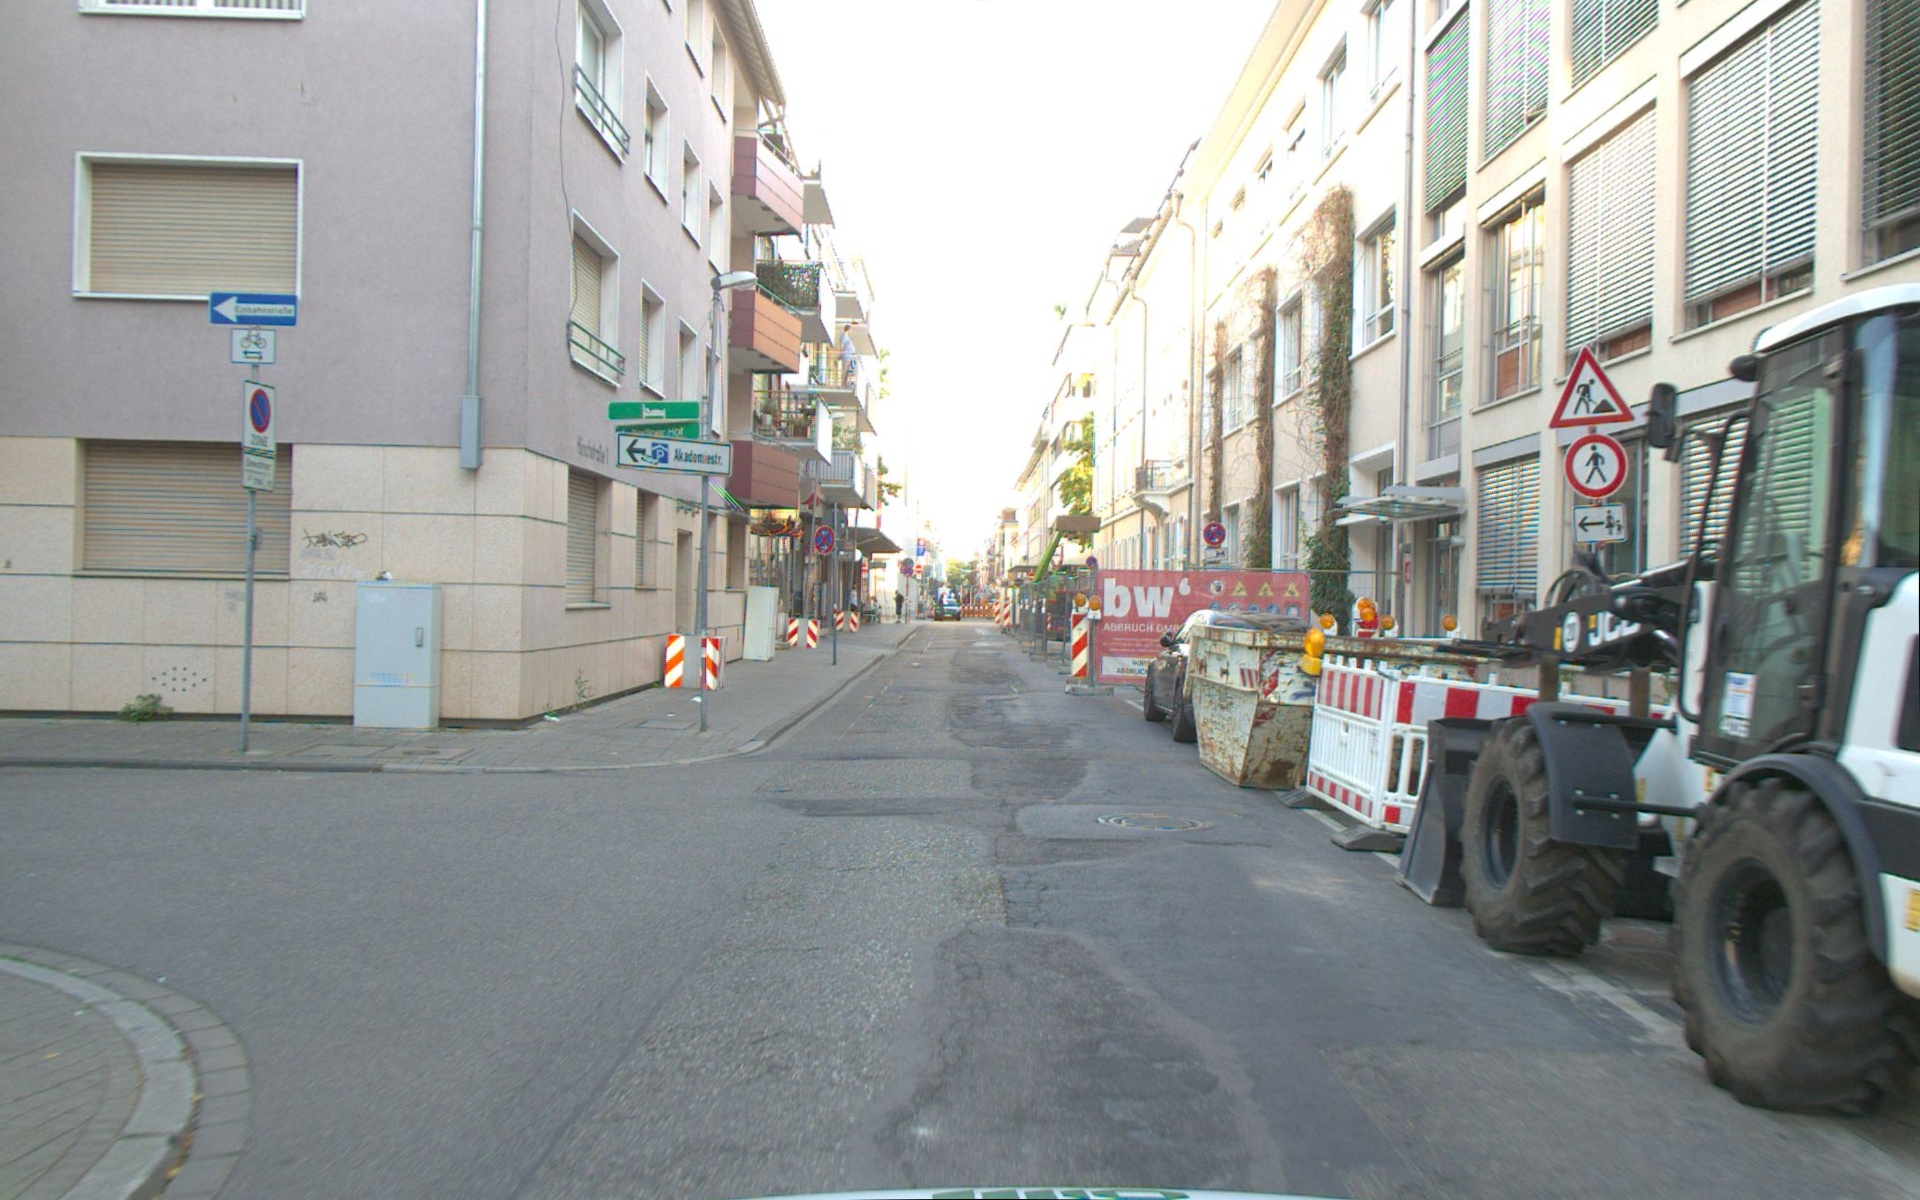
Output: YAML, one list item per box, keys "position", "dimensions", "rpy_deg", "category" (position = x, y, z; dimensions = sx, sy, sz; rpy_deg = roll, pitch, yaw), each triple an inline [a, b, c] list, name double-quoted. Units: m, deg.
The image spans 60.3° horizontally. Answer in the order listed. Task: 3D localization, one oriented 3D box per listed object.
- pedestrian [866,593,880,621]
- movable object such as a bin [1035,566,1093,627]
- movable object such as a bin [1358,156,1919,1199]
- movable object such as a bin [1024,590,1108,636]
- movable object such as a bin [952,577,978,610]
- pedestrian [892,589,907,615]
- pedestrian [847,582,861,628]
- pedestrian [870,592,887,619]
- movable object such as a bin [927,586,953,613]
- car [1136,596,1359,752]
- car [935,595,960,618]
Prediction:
- position: [-4.084, 0.316, 78.082]
  dimensions: [0.561, 1.297, 0.713]
  rpy_deg: [3, 0, 0]
  category: "pedestrian"
- position: [5.007, -0.189, 80.604]
  dimensions: [2.551, 2.888, 4.450]
  rpy_deg: [0, 0, 0]
  category: "movable object such as a bin"
- position: [3.360, 0.232, 6.769]
  dimensions: [1.975, 2.668, 5.751]
  rpy_deg: [3, 1, 0]
  category: "movable object such as a bin"
- position: [4.156, 0.483, 66.165]
  dimensions: [2.680, 1.667, 7.551]
  rpy_deg: [2, 0, -1]
  category: "movable object such as a bin"
- position: [0.432, -0.524, 139.647]
  dimensions: [2.112, 2.710, 4.572]
  rpy_deg: [1, 0, 0]
  category: "movable object such as a bin"
- position: [-3.082, 0.109, 84.499]
  dimensions: [0.697, 1.298, 0.704]
  rpy_deg: [1, 0, 0]
  category: "pedestrian"
- position: [-4.333, 0.192, 67.520]
  dimensions: [0.520, 1.866, 0.562]
  rpy_deg: [1, 0, -6]
  category: "pedestrian"
- position: [-3.958, 0.257, 80.310]
  dimensions: [0.688, 1.297, 0.713]
  rpy_deg: [3, 0, 0]
  category: "pedestrian"
- position: [-1.552, -0.054, 129.536]
  dimensions: [1.952, 2.049, 4.000]
  rpy_deg: [0, 0, 0]
  category: "movable object such as a bin"
- position: [3.202, 0.754, 19.285]
  dimensions: [1.751, 1.497, 4.445]
  rpy_deg: [3, 0, 0]
  category: "car"
- position: [-0.865, 0.431, 114.351]
  dimensions: [1.597, 1.577, 3.140]
  rpy_deg: [0, 0, -3]
  category: "car"
